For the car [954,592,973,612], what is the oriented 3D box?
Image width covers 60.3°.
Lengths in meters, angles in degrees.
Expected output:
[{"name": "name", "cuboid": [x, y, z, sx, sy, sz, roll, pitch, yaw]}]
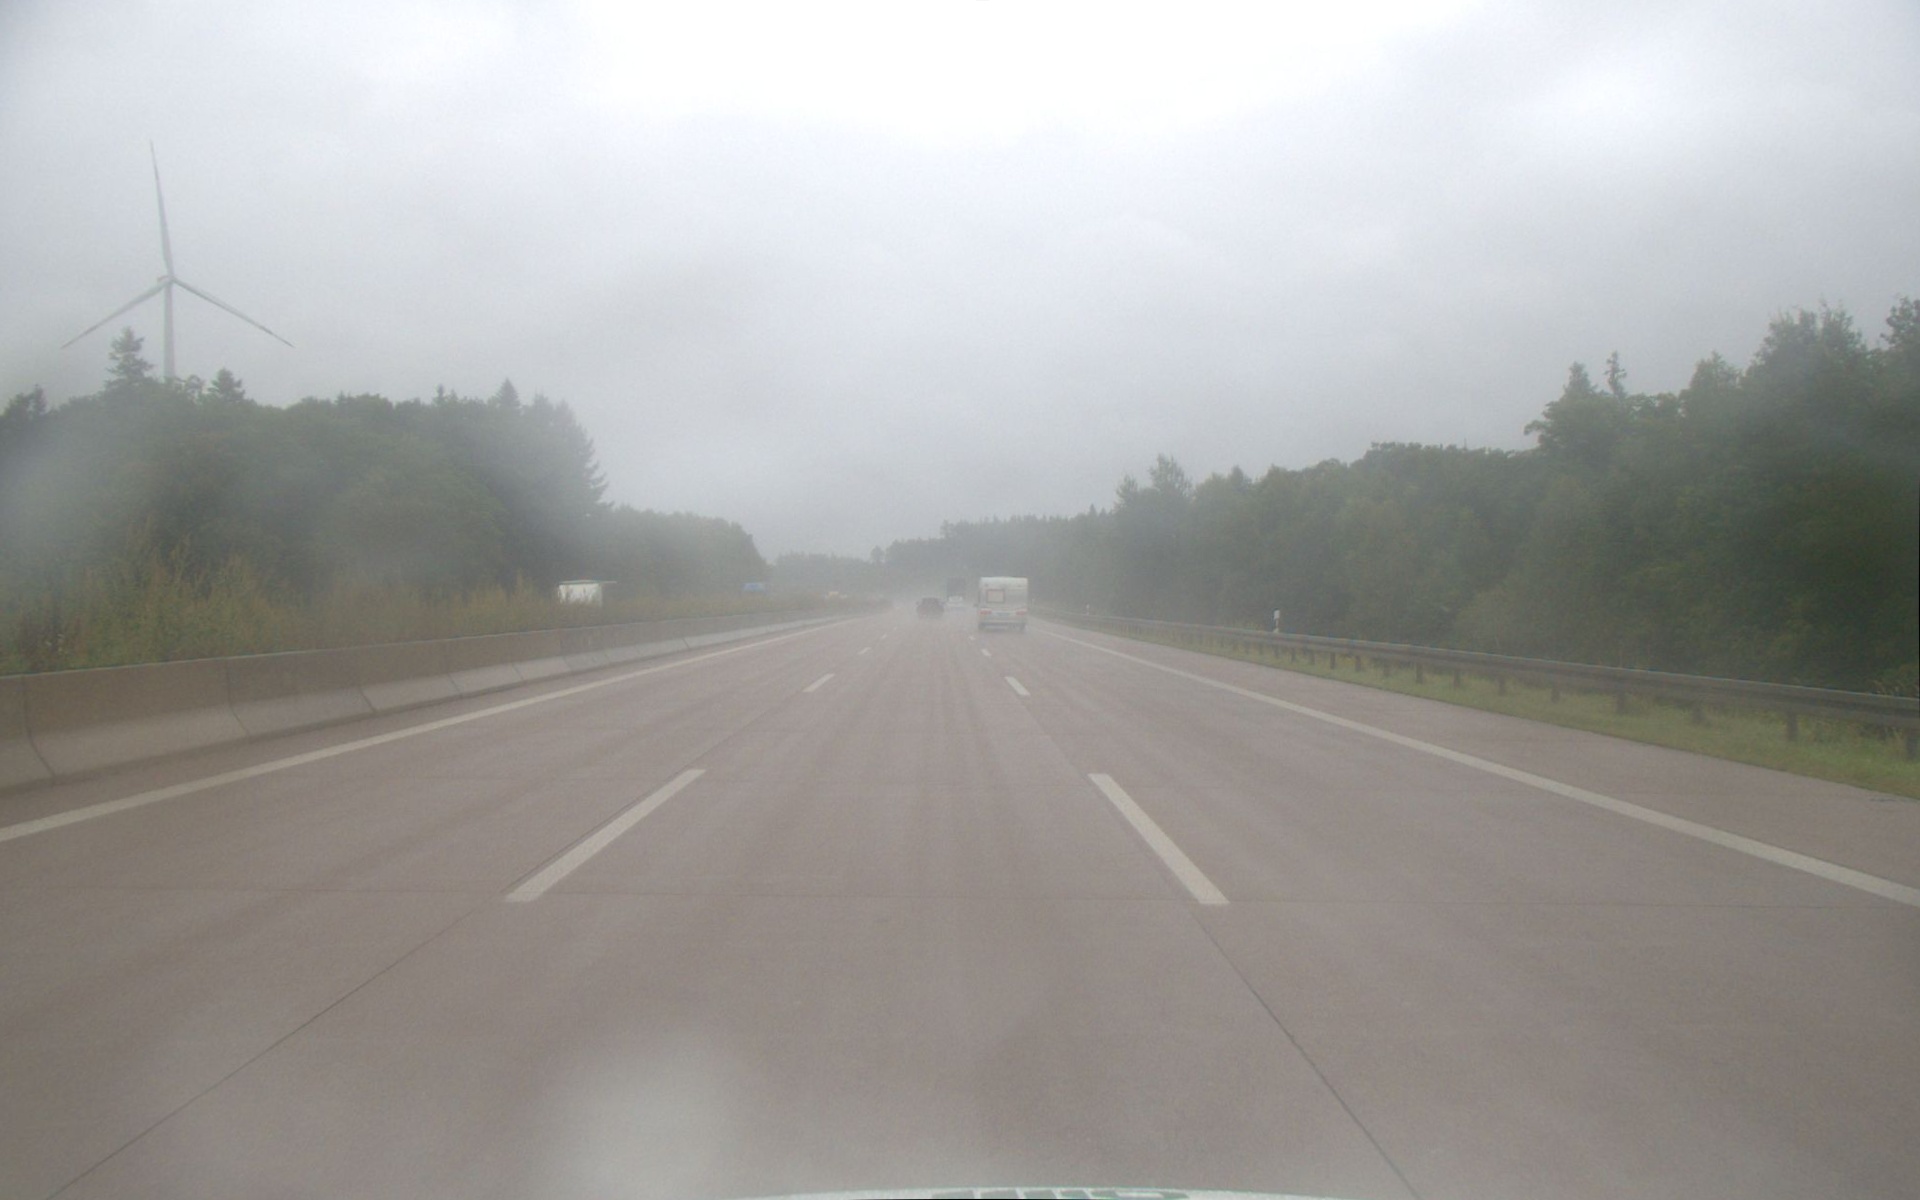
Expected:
[{"name": "car", "cuboid": [0.338, 0.150, 170.209, 1.897, 2.016, 4.130, 1, 0, 0]}]

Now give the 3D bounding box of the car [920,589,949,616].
[{"name": "car", "cuboid": [-1.725, 0.159, 114.191, 1.897, 1.760, 4.130, 1, 0, 0]}]

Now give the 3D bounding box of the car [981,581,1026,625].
[{"name": "car", "cuboid": [2.032, 0.136, 78.273, 2.016, 2.034, 4.098, 1, 0, 0]}]
